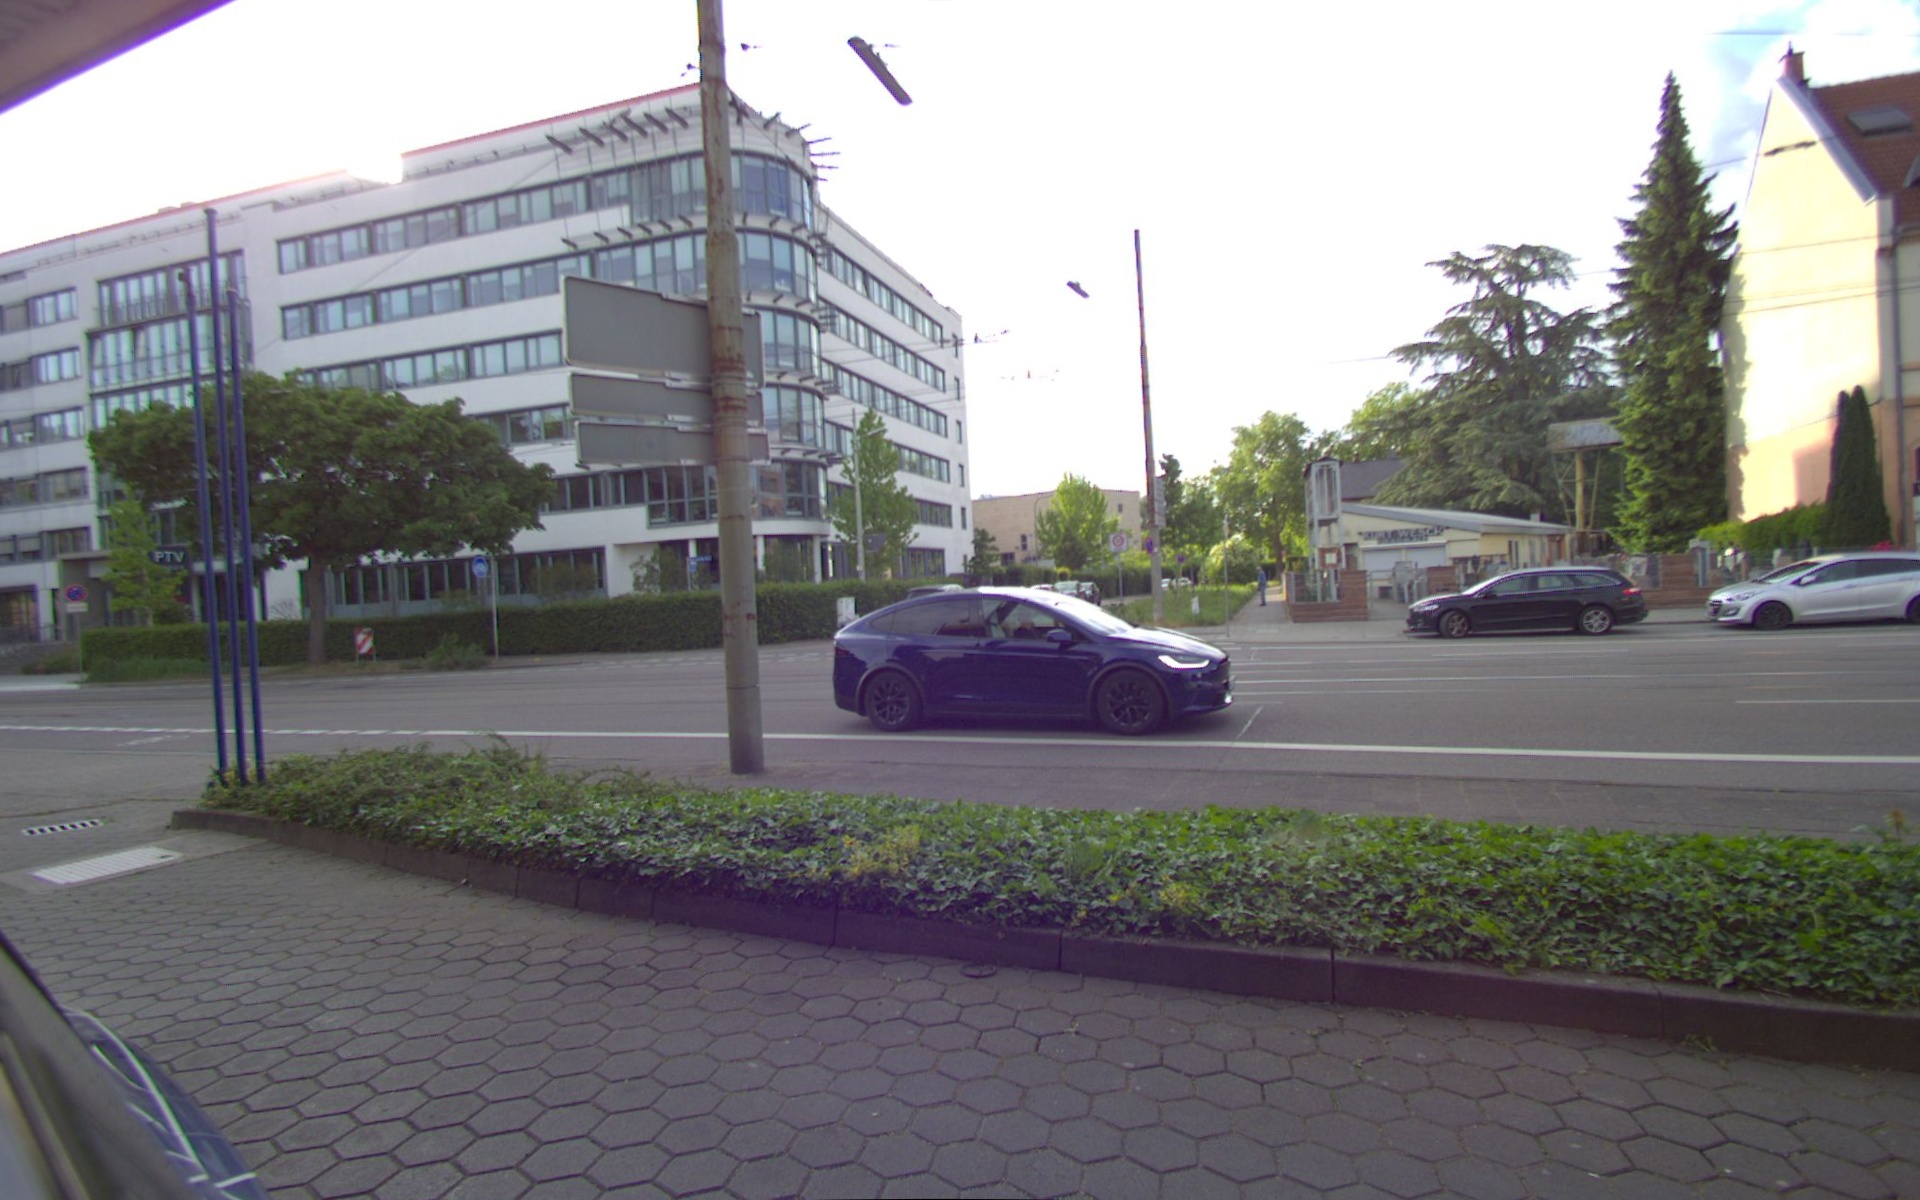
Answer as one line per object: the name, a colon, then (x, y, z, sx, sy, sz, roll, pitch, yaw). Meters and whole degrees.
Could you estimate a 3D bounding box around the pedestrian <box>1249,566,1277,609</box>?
pedestrian: (13.092, -0.530, 43.730, 1.000, 1.843, 1.083, -1, 0, 25)

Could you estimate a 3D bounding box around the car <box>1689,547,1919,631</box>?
car: (18.507, -0.257, 21.498, 4.459, 1.486, 1.986, -4, 0, 22)

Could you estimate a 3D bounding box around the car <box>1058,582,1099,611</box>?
car: (7.386, -0.239, 62.671, 1.773, 1.653, 4.064, -4, 0, 17)

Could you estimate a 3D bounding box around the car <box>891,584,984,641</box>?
car: (-0.708, 0.379, 35.536, 1.962, 1.625, 4.411, -4, 2, 17)

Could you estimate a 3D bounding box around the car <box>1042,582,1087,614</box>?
car: (5.995, -0.141, 57.660, 1.773, 1.653, 4.064, -4, 0, 17)

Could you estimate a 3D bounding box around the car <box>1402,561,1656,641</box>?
car: (12.931, 0.044, 23.415, 4.791, 1.507, 1.986, -3, 0, 22)

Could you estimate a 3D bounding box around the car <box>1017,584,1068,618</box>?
car: (4.301, 0.018, 52.359, 1.773, 1.552, 4.018, -4, 0, 17)

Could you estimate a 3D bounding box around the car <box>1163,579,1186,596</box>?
car: (22.576, -1.310, 106.311, 1.774, 1.653, 4.060, -4, 0, 19)

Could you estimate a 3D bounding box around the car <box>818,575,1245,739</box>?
car: (0.841, 0.679, 12.303, 4.820, 1.669, 1.757, -3, 2, 24)

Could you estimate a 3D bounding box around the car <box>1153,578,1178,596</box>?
car: (20.438, -1.280, 100.613, 1.774, 1.653, 4.060, -4, 0, 19)

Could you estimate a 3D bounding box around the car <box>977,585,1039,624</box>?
car: (2.220, 0.172, 45.754, 1.773, 1.565, 4.083, -4, 0, 17)
